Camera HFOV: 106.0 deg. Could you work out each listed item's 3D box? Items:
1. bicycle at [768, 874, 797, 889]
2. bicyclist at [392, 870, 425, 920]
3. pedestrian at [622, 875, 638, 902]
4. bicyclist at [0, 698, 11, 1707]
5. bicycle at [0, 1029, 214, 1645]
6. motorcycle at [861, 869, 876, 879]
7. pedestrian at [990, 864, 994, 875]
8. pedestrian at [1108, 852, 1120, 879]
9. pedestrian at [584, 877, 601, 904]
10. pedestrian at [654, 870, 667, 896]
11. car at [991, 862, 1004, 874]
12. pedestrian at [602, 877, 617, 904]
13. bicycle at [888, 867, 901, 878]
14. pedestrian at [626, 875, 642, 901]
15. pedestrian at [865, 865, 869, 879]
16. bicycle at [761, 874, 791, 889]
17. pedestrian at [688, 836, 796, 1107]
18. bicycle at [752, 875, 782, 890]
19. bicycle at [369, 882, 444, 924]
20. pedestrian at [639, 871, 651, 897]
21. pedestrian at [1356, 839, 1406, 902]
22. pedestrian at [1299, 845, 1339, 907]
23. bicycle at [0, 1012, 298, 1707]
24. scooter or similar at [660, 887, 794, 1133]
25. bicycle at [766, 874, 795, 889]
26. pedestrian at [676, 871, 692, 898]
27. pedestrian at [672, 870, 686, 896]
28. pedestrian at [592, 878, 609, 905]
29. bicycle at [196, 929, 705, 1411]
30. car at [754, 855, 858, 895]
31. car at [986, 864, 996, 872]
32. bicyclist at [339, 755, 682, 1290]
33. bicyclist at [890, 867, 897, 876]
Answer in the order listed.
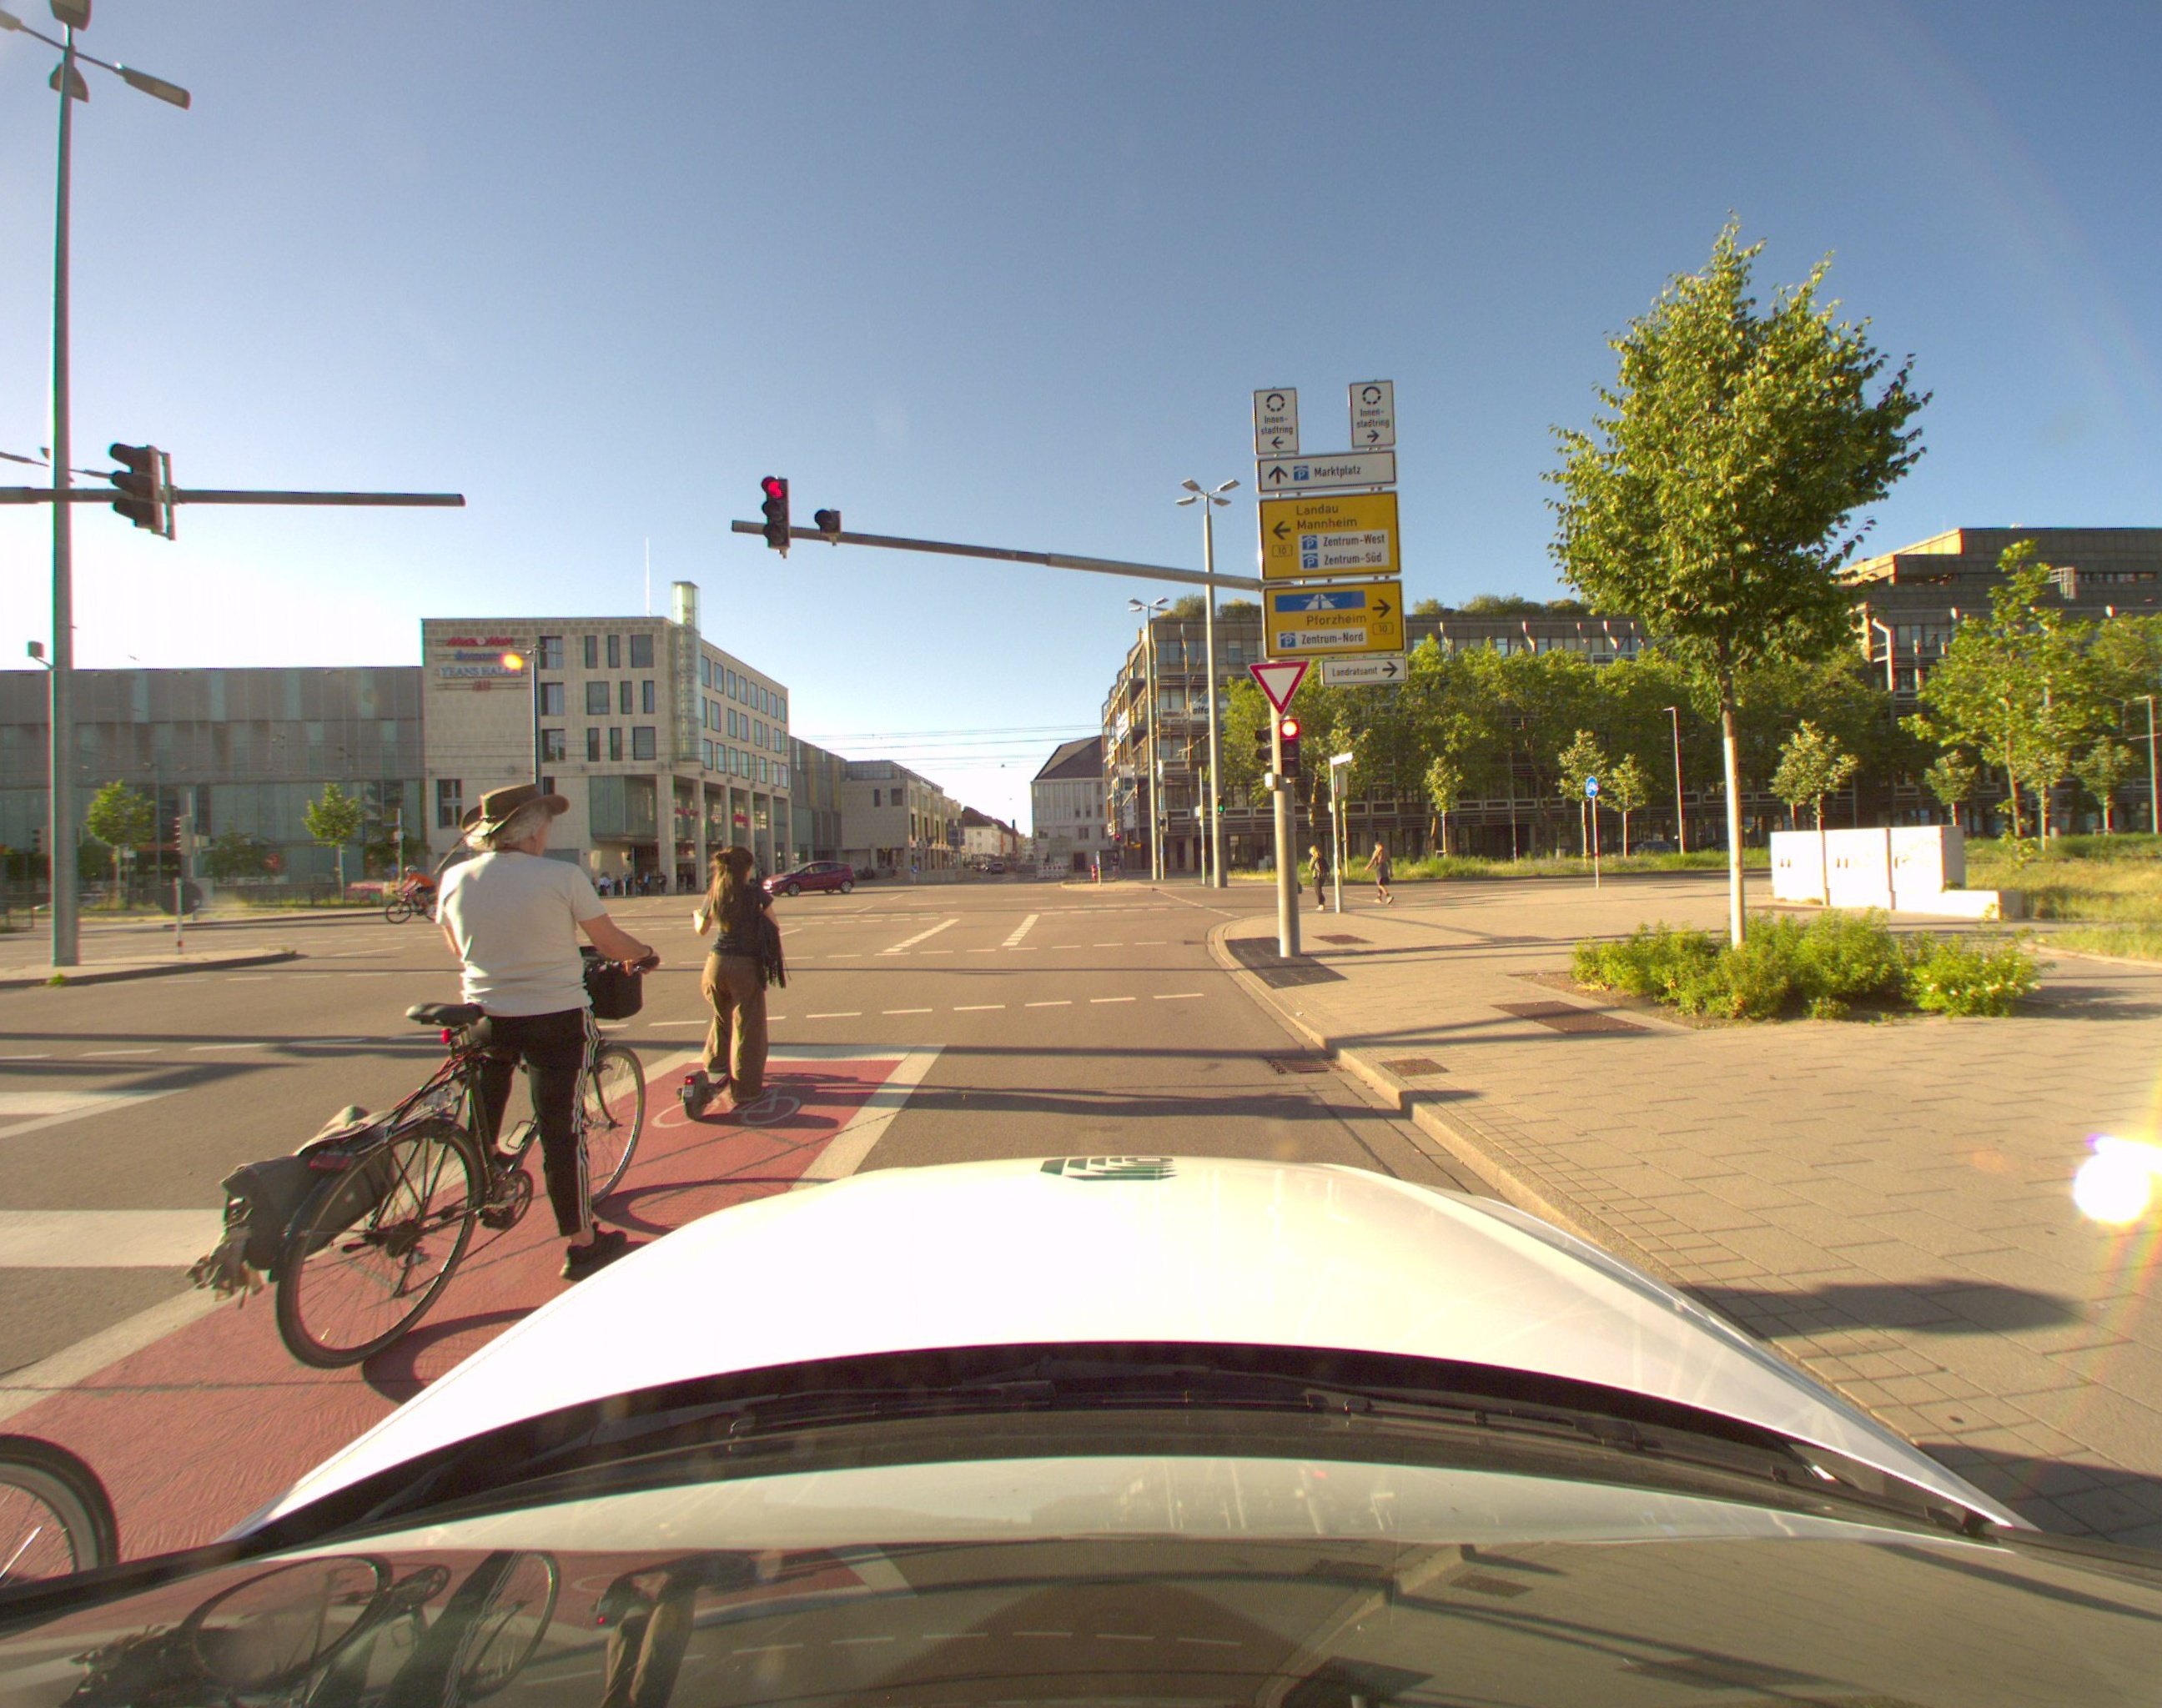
[{"bbox_3d":[-26.740,2.432,72.896,2.299,1.222,0.612,-2,0,-1],"label":"bicycle"},{"bbox_3d":[-19.733,1.184,23.897,0.717,1.437,0.491,0,-1,-37],"label":"bicyclist"},{"bbox_3d":[-31.945,2.448,57.692,0.783,1.885,0.716,0,-1,-4],"label":"pedestrian"},{"bbox_3d":[-1.797,0.578,0.680,0.639,1.579,0.875,0,0,-1],"label":"bicyclist"},{"bbox_3d":[-2.418,0.983,0.981,0.645,1.109,1.970,0,0,-1],"label":"bicycle"},{"bbox_3d":[-25.783,2.423,98.739,1.807,1.206,0.509,0,0,-14],"label":"motorcycle"},{"bbox_3d":[-12.817,2.231,117.438,0.520,1.679,0.582,0,0,-5],"label":"pedestrian"},{"bbox_3d":[2.325,0.809,57.414,0.785,1.890,0.644,0,-1,1],"label":"pedestrian"},{"bbox_3d":[-35.021,2.594,58.397,0.783,1.885,0.716,0,-1,-4],"label":"pedestrian"},{"bbox_3d":[-30.791,2.115,59.666,0.800,1.843,0.856,-2,0,-26],"label":"pedestrian"},{"bbox_3d":[-11.139,1.849,108.656,1.735,1.531,3.848,0,-1,-5],"label":"car"},{"bbox_3d":[-33.991,2.621,58.720,0.714,1.885,0.786,0,-1,-6],"label":"pedestrian"},{"bbox_3d":[-22.682,2.266,99.111,0.505,1.206,1.822,0,0,31],"label":"bicycle"},{"bbox_3d":[-32.511,2.464,59.243,0.783,1.885,0.716,0,-1,-4],"label":"pedestrian"},{"bbox_3d":[-26.103,2.184,99.355,0.521,1.679,0.580,0,0,-12],"label":"pedestrian"},{"bbox_3d":[-26.462,2.411,70.651,2.299,1.222,0.612,-2,0,-1],"label":"bicycle"},{"bbox_3d":[-2.158,0.707,5.245,0.549,1.633,0.569,0,-1,-13],"label":"pedestrian"},{"bbox_3d":[-26.733,2.403,69.374,2.299,1.222,0.612,-2,0,-1],"label":"bicycle"},{"bbox_3d":[-19.753,1.415,23.893,1.658,1.154,0.491,0,-1,-38],"label":"bicycle"},{"bbox_3d":[-31.121,2.132,58.185,0.718,1.885,0.781,0,-1,-25],"label":"pedestrian"},{"bbox_3d":[8.107,0.435,22.031,0.880,1.665,0.960,0,-1,-14],"label":"pedestrian"},{"bbox_3d":[5.808,0.538,19.904,0.785,1.492,0.644,0,-1,1],"label":"pedestrian"},{"bbox_3d":[-1.793,0.914,0.629,0.614,1.218,1.831,0,0,-1],"label":"bicycle"},{"bbox_3d":[-2.152,0.871,5.076,0.547,1.294,1.188,0,-1,-13],"label":"scooter or similar"},{"bbox_3d":[-26.565,2.423,72.011,2.299,1.222,0.612,-2,0,-1],"label":"bicycle"},{"bbox_3d":[-29.529,2.249,60.555,0.883,2.014,0.771,0,-1,-9],"label":"pedestrian"},{"bbox_3d":[-29.105,2.062,58.940,0.801,1.843,0.855,-2,0,-30],"label":"pedestrian"},{"bbox_3d":[-33.867,2.609,57.373,0.783,1.885,0.716,0,-1,-4],"label":"pedestrian"},{"bbox_3d":[-2.144,0.944,3.139,0.483,1.156,1.832,0,-1,2],"label":"bicycle"},{"bbox_3d":[-11.977,0.899,35.619,1.638,1.585,3.921,-2,-1,44],"label":"car"},{"bbox_3d":[-17.469,2.727,158.198,1.793,1.657,3.997,0,-1,-2],"label":"car"},{"bbox_3d":[-2.052,0.544,3.062,0.658,1.720,0.866,0,-1,1],"label":"bicyclist"},{"bbox_3d":[-22.771,2.151,98.939,0.505,1.084,0.629,0,0,31],"label":"bicyclist"}]
